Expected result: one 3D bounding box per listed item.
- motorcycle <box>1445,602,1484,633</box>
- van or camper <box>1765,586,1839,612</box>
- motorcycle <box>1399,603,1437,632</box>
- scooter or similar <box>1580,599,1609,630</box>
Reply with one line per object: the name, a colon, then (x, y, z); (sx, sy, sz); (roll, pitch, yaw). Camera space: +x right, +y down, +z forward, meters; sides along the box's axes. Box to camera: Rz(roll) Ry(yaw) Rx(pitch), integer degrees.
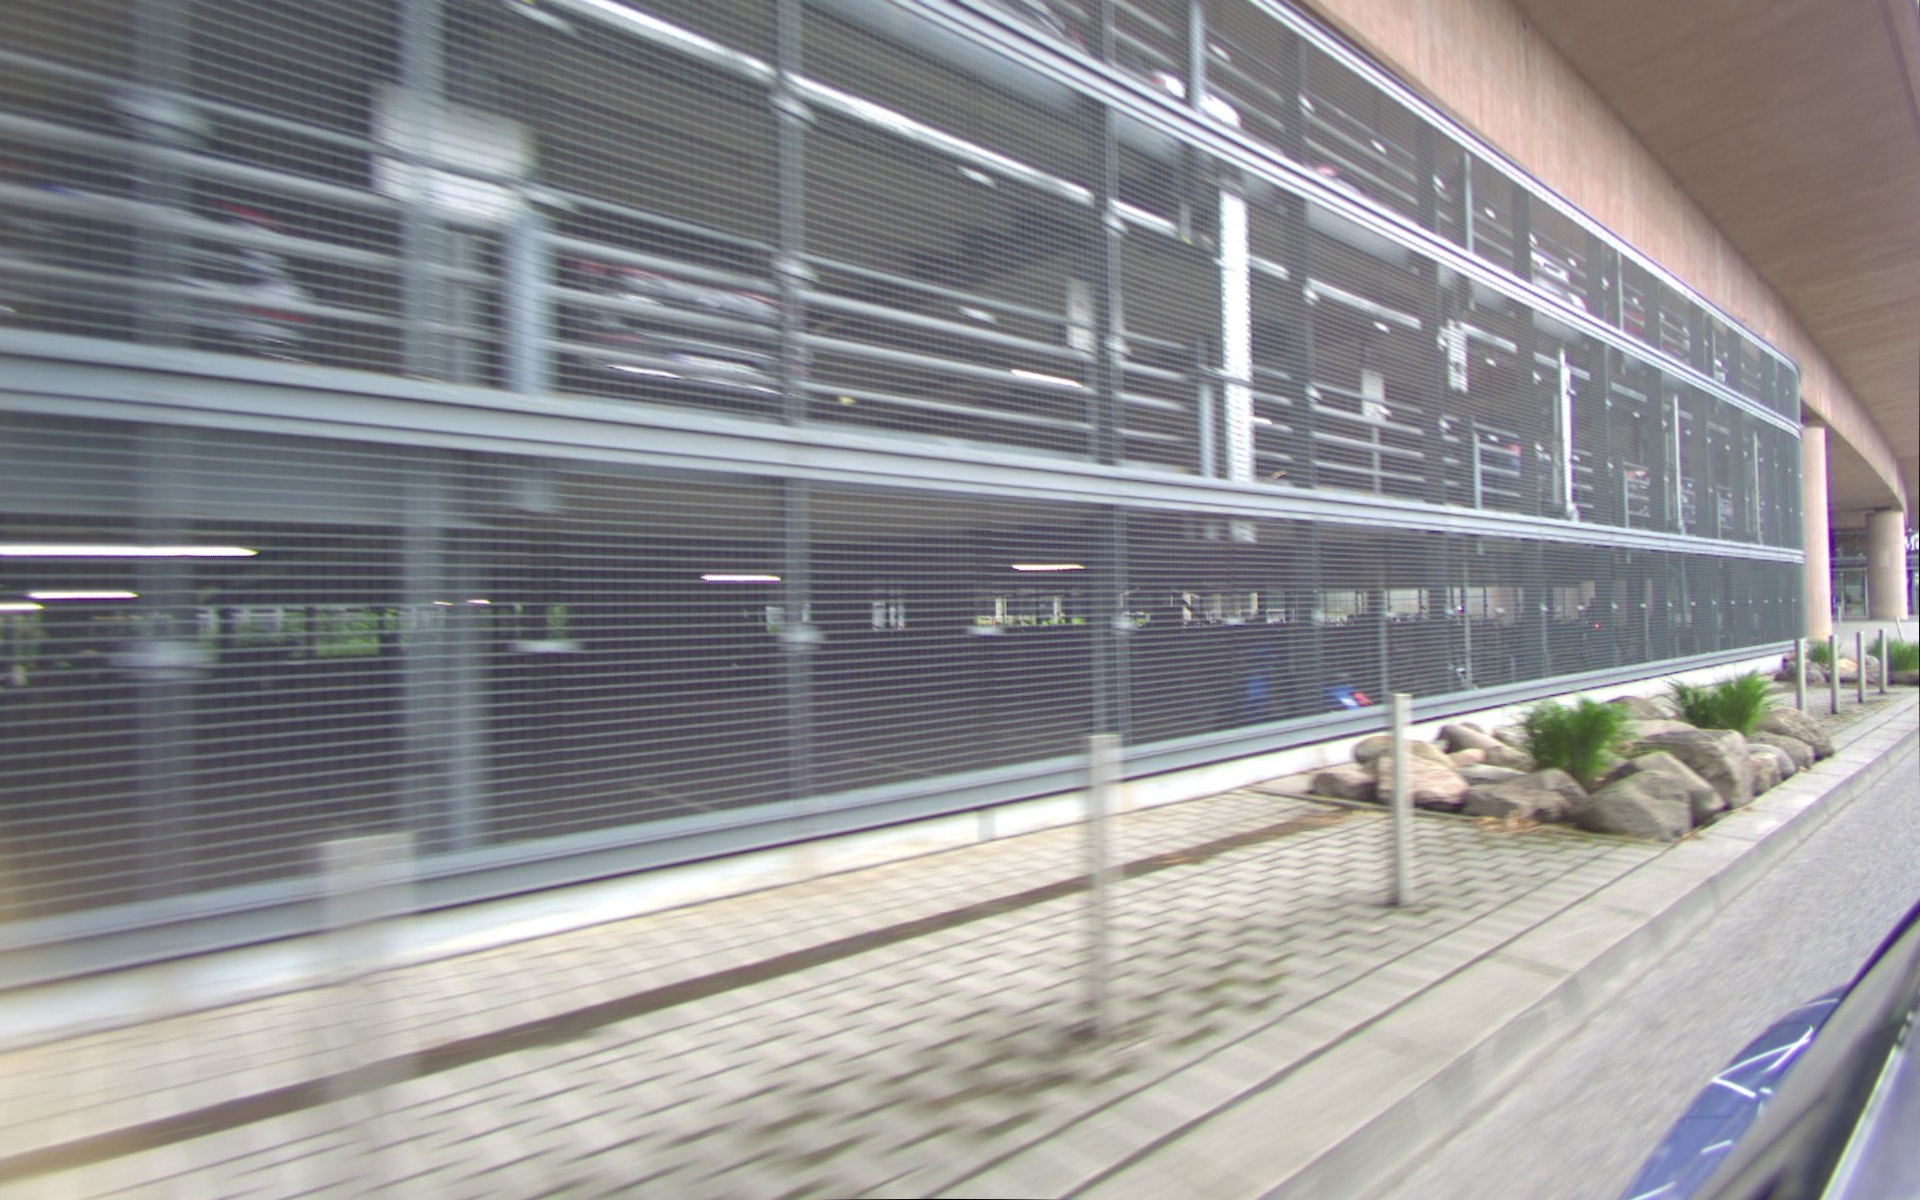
motorcycle: (20.925, 0.735, 41.939); (2.042, 1.236, 0.673); (1, -2, -40)
van or camper: (69.349, -0.092, 83.414); (4.490, 2.024, 2.325); (-1, 1, 44)
motorcycle: (19.736, 0.772, 43.619); (2.042, 1.236, 0.673); (1, -2, -40)
scooter or similar: (23.755, 0.533, 37.882); (1.226, 1.148, 0.400); (1, -2, -30)
